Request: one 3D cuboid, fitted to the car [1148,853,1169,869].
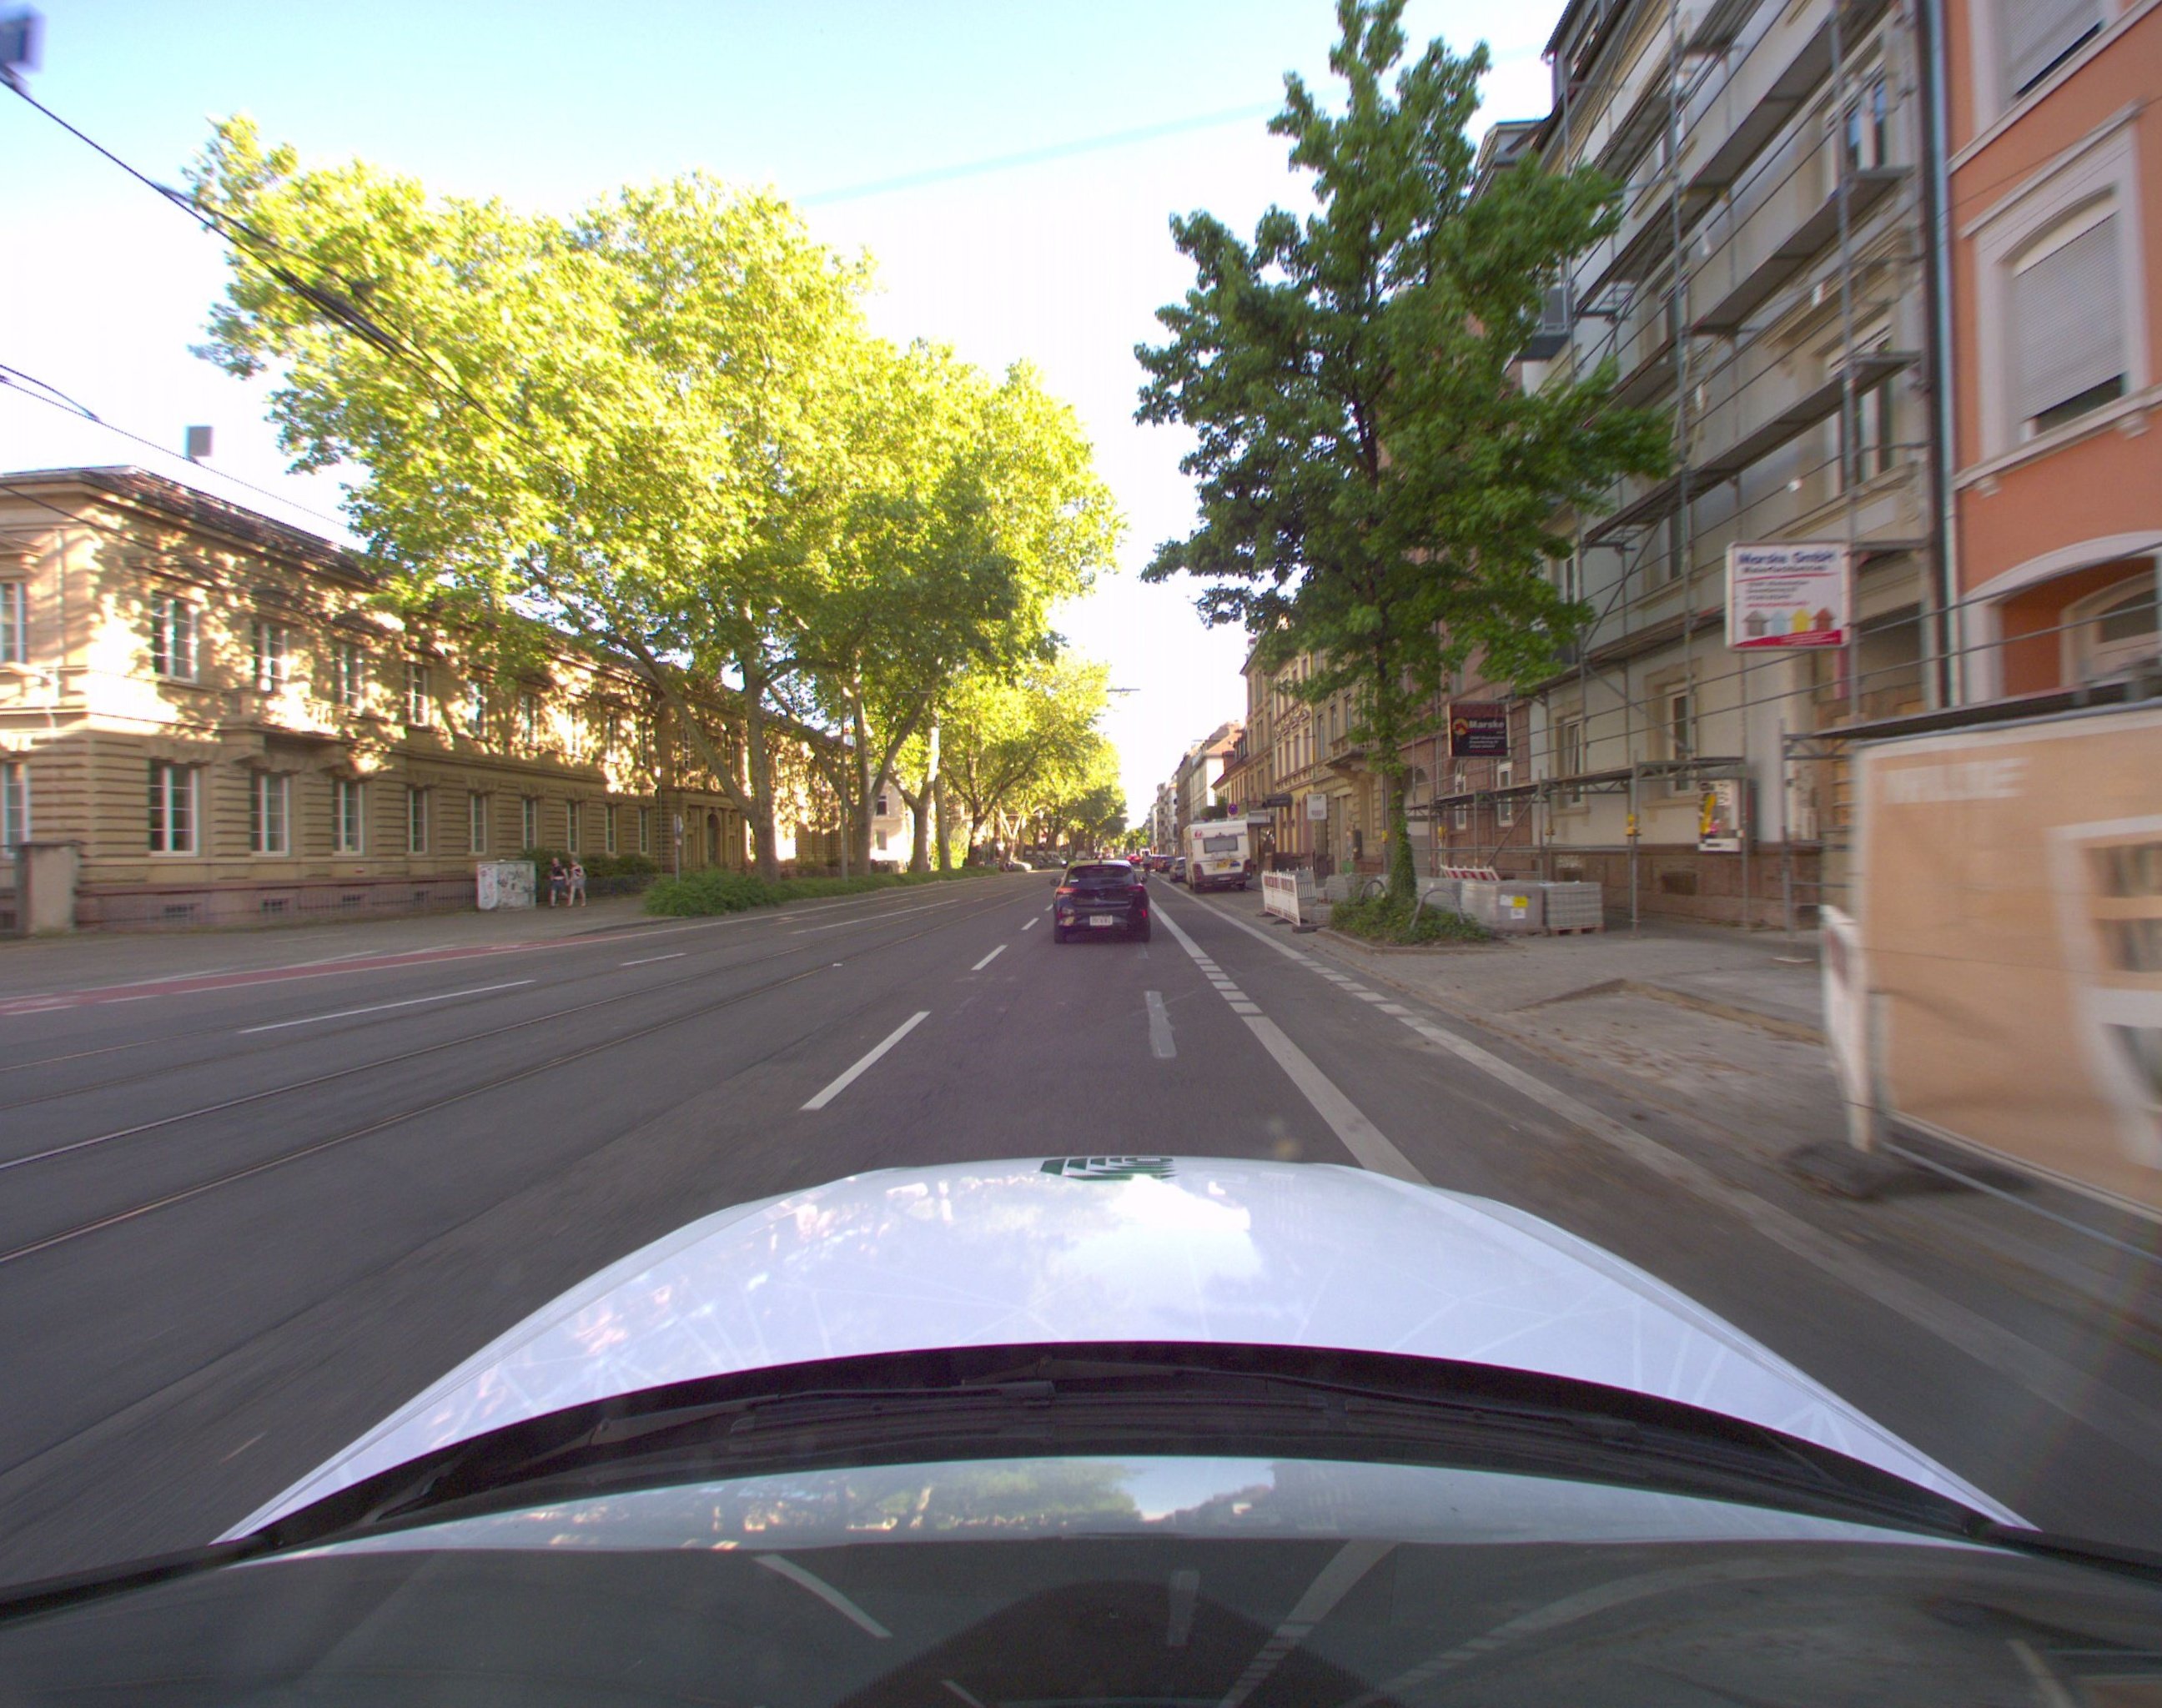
[{"bbox_3d":[8.689,0.824,91.415,1.874,1.586,3.932,-4,-1,0],"label":"car"}]

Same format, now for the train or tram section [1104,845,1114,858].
[{"bbox_3d":[8.915,-0.777,257.591,2.722,3.682,12.731,-2,0,4],"label":"train or tram section"}]

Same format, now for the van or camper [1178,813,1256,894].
[{"bbox_3d":[5.752,-0.005,35.552,2.466,2.972,7.893,-4,-1,4],"label":"van or camper"}]

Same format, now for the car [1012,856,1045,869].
[{"bbox_3d":[-6.748,1.092,104.111,3.978,1.627,1.881,1,-1,3],"label":"car"}]

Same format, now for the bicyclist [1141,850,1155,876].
[{"bbox_3d":[4.627,0.616,56.304,0.845,1.740,1.162,-1,0,2],"label":"bicyclist"}]

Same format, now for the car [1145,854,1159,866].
[{"bbox_3d":[10.058,0.814,115.456,1.562,1.517,3.041,-4,-1,1],"label":"car"}]

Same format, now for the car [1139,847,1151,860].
[{"bbox_3d":[12.487,-0.061,158.081,2.066,2.219,4.939,-4,-1,4],"label":"car"}]

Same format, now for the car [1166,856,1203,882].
[{"bbox_3d":[6.183,0.860,49.157,1.802,1.435,4.668,-2,0,3],"label":"car"}]

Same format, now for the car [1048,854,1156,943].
[{"bbox_3d":[0.442,0.747,15.385,1.786,1.441,3.534,-1,0,3],"label":"car"}]

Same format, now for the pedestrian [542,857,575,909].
[{"bbox_3d":[-17.438,0.957,27.201,0.670,1.697,0.661,-1,-1,-4],"label":"pedestrian"}]

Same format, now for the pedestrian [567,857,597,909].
[{"bbox_3d":[-16.749,0.958,27.352,0.632,1.697,0.655,-1,-1,-4],"label":"pedestrian"}]

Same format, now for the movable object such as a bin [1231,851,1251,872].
[{"bbox_3d":[11.702,0.525,59.534,1.288,1.520,1.287,-1,0,3],"label":"movable object such as a bin"}]

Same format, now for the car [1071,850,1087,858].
[{"bbox_3d":[-0.442,-0.017,192.406,3.907,1.790,1.677,1,-1,0],"label":"car"}]

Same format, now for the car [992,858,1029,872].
[{"bbox_3d":[-7.796,1.189,90.490,3.905,1.453,1.801,-1,-1,3],"label":"car"}]

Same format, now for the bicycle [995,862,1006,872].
[{"bbox_3d":[-8.150,1.336,82.118,0.537,0.940,2.040,-1,0,11],"label":"bicycle"}]

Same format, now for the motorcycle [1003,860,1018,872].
[{"bbox_3d":[-7.060,1.182,82.054,0.879,1.147,2.398,-1,0,11],"label":"motorcycle"}]

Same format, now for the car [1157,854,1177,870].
[{"bbox_3d":[7.948,0.732,75.551,1.644,1.456,3.872,-2,0,3],"label":"car"}]

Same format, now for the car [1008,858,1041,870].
[{"bbox_3d":[-7.065,1.212,101.954,3.903,1.442,1.750,1,-1,3],"label":"car"}]

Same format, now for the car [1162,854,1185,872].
[{"bbox_3d":[7.736,0.750,68.161,1.686,1.392,4.500,-2,0,4],"label":"car"}]

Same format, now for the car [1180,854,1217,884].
[{"bbox_3d":[6.302,0.772,44.005,1.637,1.434,4.034,-4,-1,4],"label":"car"}]

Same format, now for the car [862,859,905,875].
[{"bbox_3d":[-19.465,1.296,80.338,3.760,1.418,1.696,-2,2,3],"label":"car"}]

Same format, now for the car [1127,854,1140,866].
[{"bbox_3d":[7.603,0.845,117.615,1.801,1.742,3.938,-1,0,4],"label":"car"}]

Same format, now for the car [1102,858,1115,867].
[{"bbox_3d":[3.941,1.212,117.339,1.803,1.338,3.935,-1,0,2],"label":"car"}]

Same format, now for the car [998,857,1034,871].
[{"bbox_3d":[-7.410,1.123,93.322,3.903,1.462,1.807,-1,-1,3],"label":"car"}]

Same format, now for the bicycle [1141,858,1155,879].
[{"bbox_3d":[4.638,0.976,56.257,0.857,1.407,2.525,-1,0,2],"label":"bicycle"}]

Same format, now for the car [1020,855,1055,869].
[{"bbox_3d":[-6.192,1.078,115.975,4.654,1.924,1.982,1,-1,4],"label":"car"}]

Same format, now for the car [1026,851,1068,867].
[{"bbox_3d":[-5.448,0.777,131.033,6.600,2.409,2.460,1,-1,3],"label":"car"}]

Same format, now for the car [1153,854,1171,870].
[{"bbox_3d":[7.949,0.789,80.208,1.627,1.546,3.580,-2,0,4],"label":"car"}]

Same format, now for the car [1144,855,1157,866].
[{"bbox_3d":[10.273,0.917,120.508,1.696,1.456,3.704,-4,-1,6],"label":"car"}]

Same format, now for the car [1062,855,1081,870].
[{"bbox_3d":[-1.113,0.959,97.363,1.859,1.629,4.564,-1,0,3],"label":"car"}]
